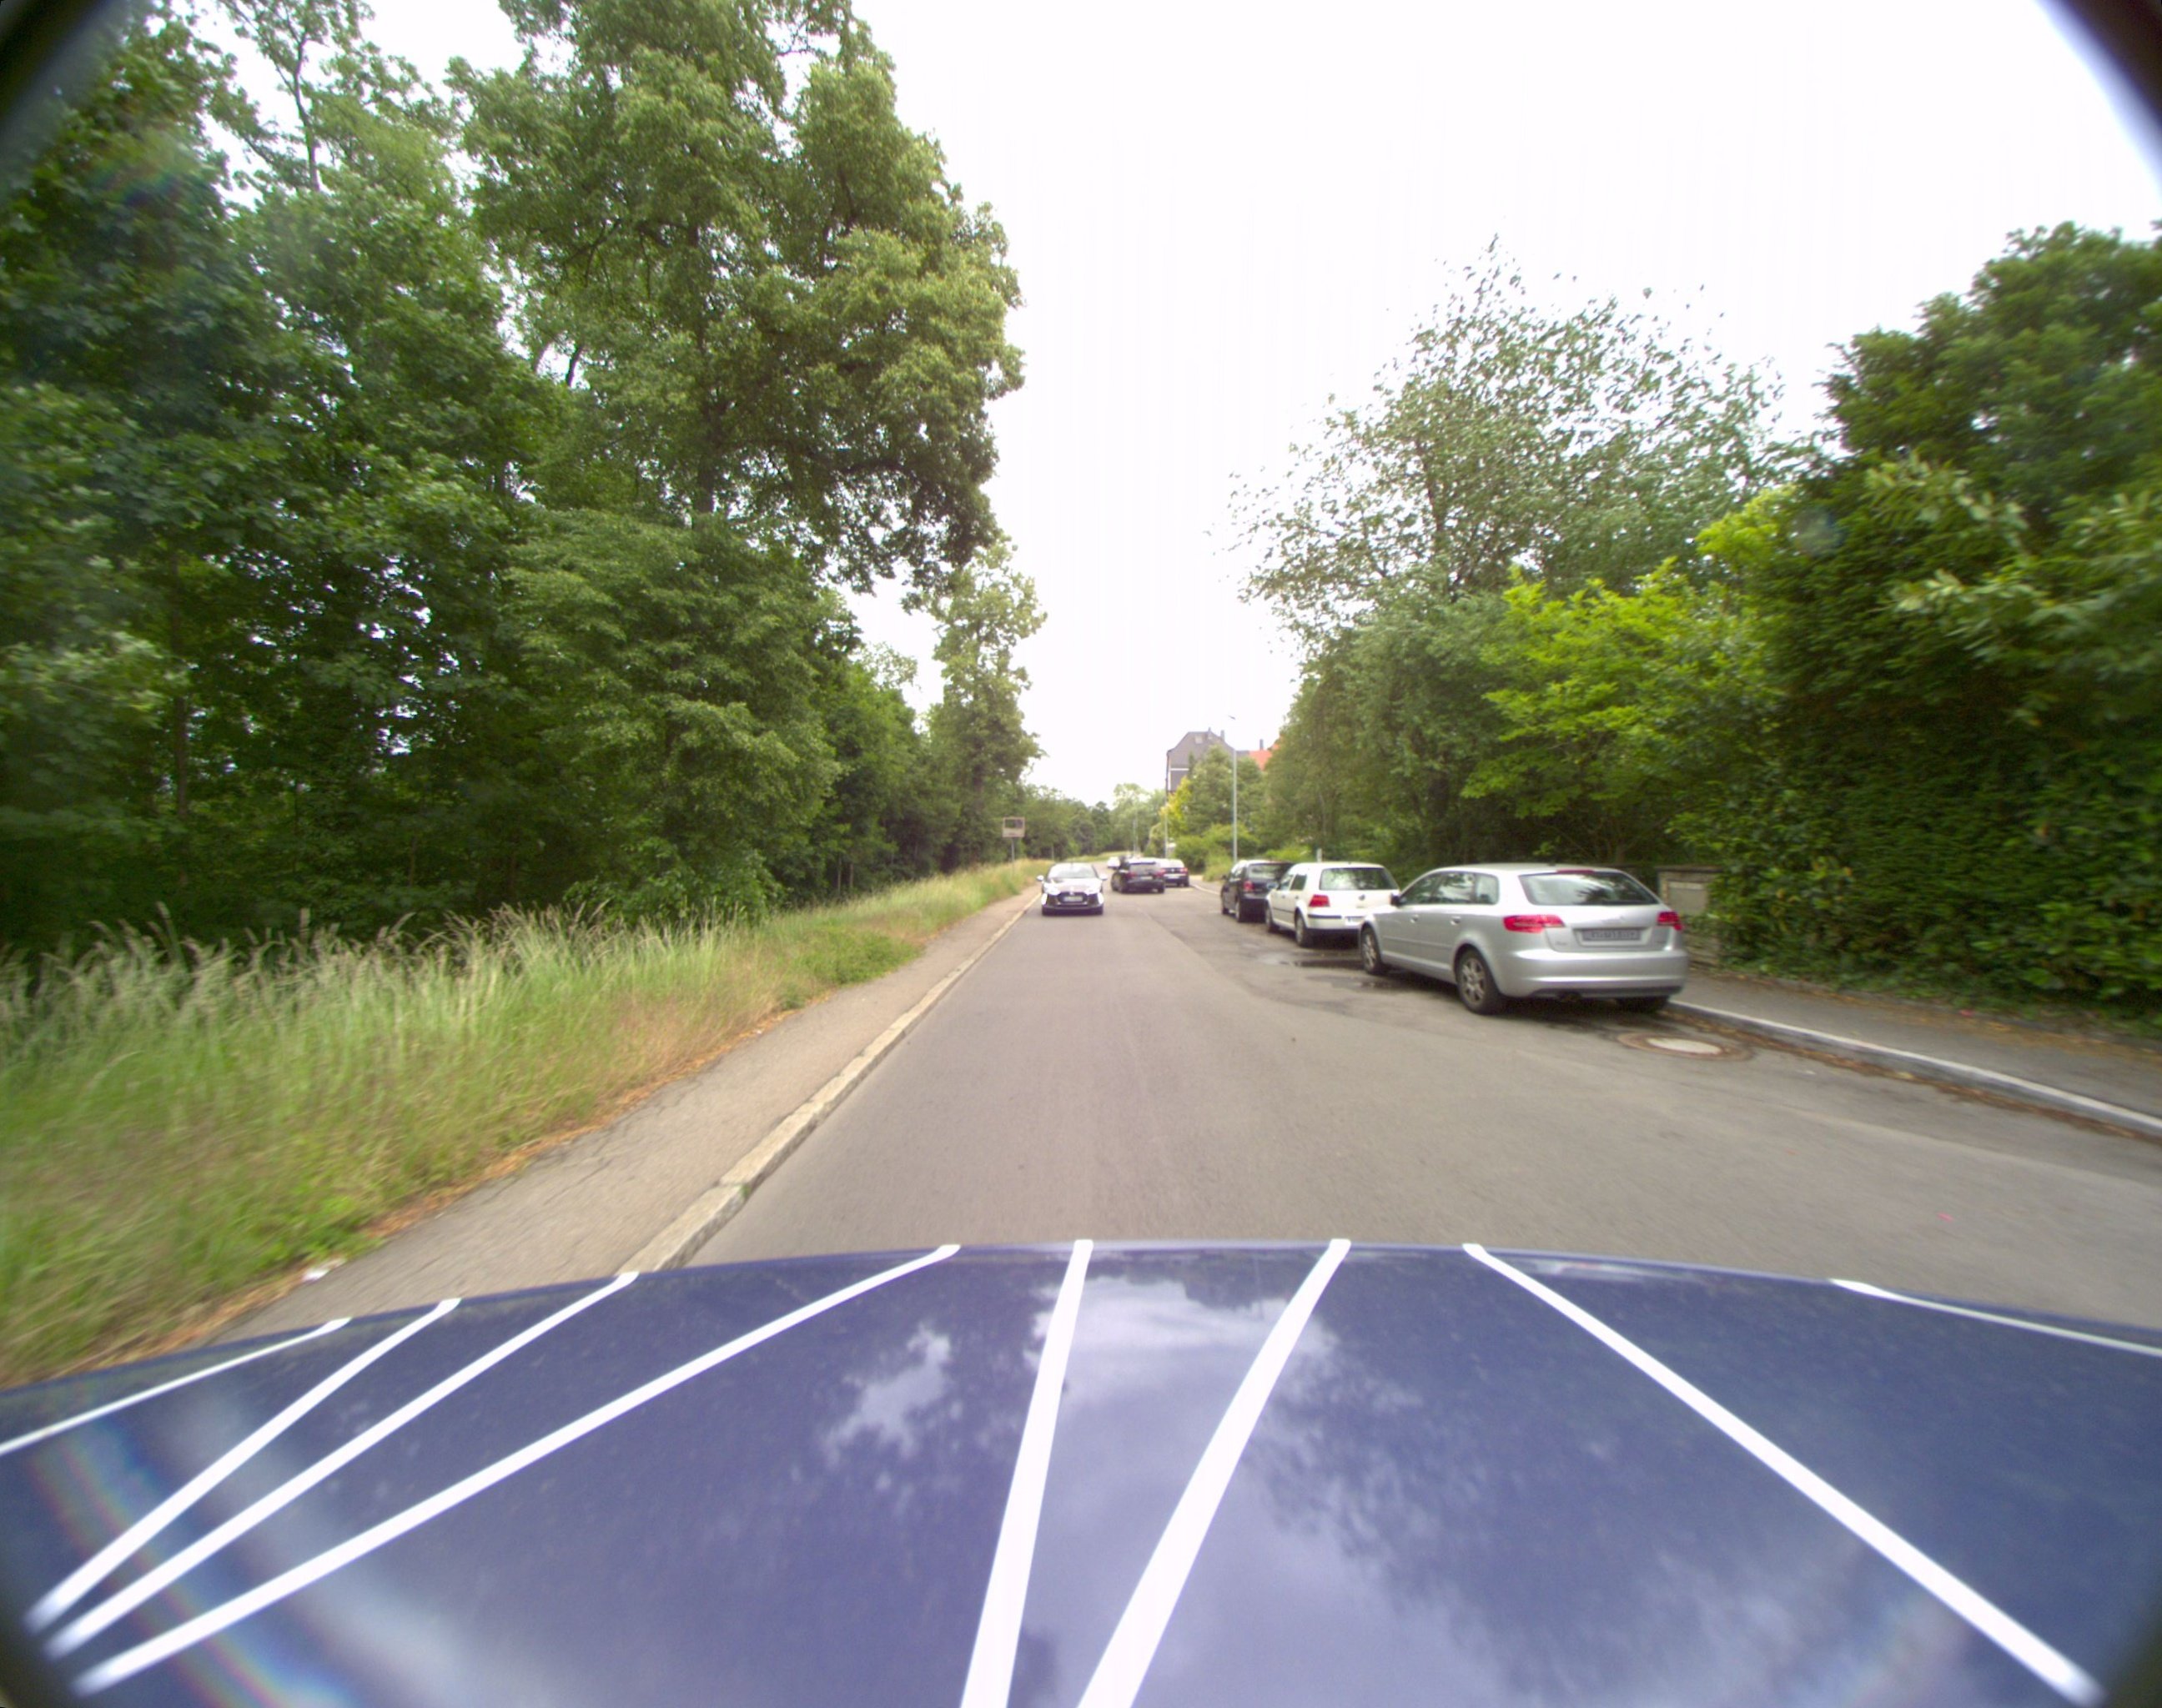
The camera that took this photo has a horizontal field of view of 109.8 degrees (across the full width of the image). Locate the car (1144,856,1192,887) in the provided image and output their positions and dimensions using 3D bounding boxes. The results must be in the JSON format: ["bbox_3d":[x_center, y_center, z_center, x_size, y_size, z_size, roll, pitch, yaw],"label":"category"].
[{"bbox_3d":[4.404,0.848,39.055,1.783,1.423,5.104,-1,0,-1],"label":"car"}]

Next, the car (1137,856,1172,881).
[{"bbox_3d":[4.373,0.855,45.545,1.628,1.423,4.350,0,0,-1],"label":"car"}]

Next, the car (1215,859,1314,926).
[{"bbox_3d":[4.425,0.879,18.835,1.627,1.441,3.969,0,0,2],"label":"car"}]

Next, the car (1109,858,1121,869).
[{"bbox_3d":[4.796,1.296,107.560,1.646,1.461,4.072,1,0,3],"label":"car"}]

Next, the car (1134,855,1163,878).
[{"bbox_3d":[4.451,0.823,50.437,1.628,1.473,4.000,0,0,0],"label":"car"}]

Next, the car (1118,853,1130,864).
[{"bbox_3d":[7.661,0.751,135.758,1.799,1.790,4.066,1,1,8],"label":"car"}]

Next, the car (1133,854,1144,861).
[{"bbox_3d":[12.017,0.776,159.041,1.735,1.420,3.460,0,1,12],"label":"car"}]

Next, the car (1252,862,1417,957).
[{"bbox_3d":[4.474,0.899,14.115,1.664,1.444,4.382,-1,0,1],"label":"car"}]

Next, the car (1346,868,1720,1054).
[{"bbox_3d":[4.441,0.920,8.304,1.627,1.441,4.093,0,0,0],"label":"car"}]

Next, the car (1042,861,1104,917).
[{"bbox_3d":[-0.154,0.948,21.993,1.619,1.460,4.001,0,-1,2],"label":"car"}]

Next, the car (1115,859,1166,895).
[{"bbox_3d":[2.567,0.981,33.731,1.785,1.417,4.489,-1,0,-1],"label":"car"}]
